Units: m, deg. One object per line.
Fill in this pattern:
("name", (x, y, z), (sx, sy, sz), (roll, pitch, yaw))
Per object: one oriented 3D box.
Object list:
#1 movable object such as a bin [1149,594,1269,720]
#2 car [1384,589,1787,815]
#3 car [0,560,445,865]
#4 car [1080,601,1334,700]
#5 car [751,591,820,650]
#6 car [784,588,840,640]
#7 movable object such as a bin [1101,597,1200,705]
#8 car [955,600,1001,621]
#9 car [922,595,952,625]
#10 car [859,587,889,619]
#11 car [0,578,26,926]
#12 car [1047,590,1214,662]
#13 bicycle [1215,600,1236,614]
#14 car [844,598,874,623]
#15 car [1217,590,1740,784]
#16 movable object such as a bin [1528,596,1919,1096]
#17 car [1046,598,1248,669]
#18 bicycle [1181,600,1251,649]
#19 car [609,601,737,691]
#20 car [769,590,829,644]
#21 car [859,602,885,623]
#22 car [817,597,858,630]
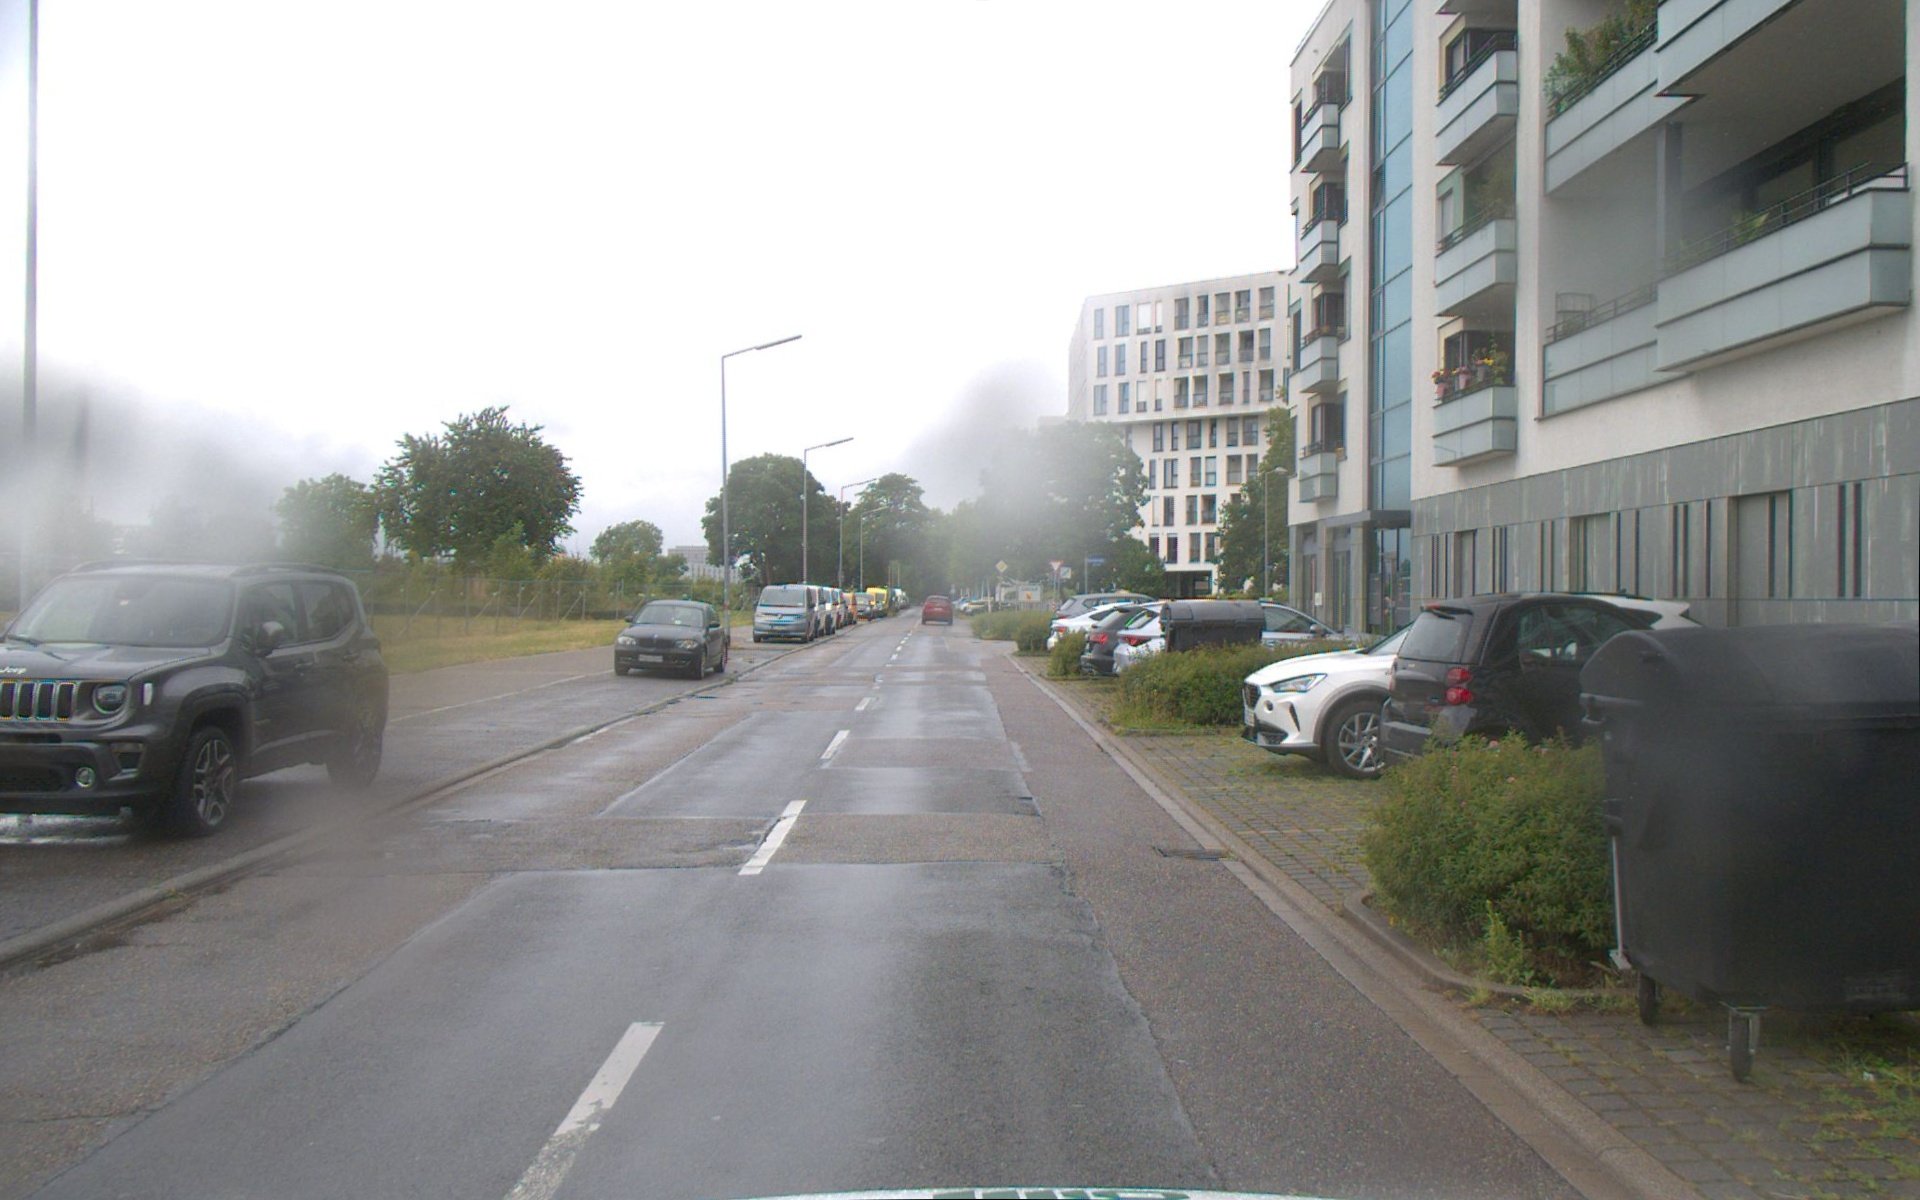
("movable object such as a bin", (3.281, 0.730, 22.010), (1.274, 1.553, 1.581), (-3, 0, -1))
("car", (4.700, 0.727, 12.566), (2.574, 1.533, 1.205), (-2, 0, -7))
("car", (-5.393, 0.630, 11.852), (1.716, 1.722, 4.882), (1, 0, 2))
("car", (4.124, 0.827, 28.081), (3.978, 1.523, 2.057), (-1, 0, -1))
("car", (-6.036, 0.694, 57.617), (1.916, 1.935, 4.994), (1, 0, -1))
("car", (-6.317, 0.586, 71.132), (1.920, 2.094, 5.273), (1, 0, -1))
("movable object such as a bin", (2.866, 0.753, 25.054), (1.274, 1.553, 1.581), (-1, 0, -1))
("car", (1.789, 1.042, 166.139), (4.451, 1.714, 1.884), (-5, 0, -4))
("car", (-1.376, 0.603, 97.752), (1.721, 1.735, 3.999), (0, 0, -2))
("car", (-7.634, 0.296, 147.584), (2.147, 2.741, 6.081), (3, 0, 1))
("car", (-5.291, 0.704, 5.801), (1.717, 1.618, 4.132), (1, 0, -1))
("car", (4.351, 0.660, 42.604), (4.007, 1.652, 1.965), (-2, 0, -3))
("bicycle", (19.814, 0.522, 123.403), (0.711, 1.051, 2.064), (0, -1, 38))
("car", (-6.760, 0.698, 110.941), (1.767, 1.588, 4.032), (3, 0, -1))
("car", (4.703, 0.759, 15.462), (4.258, 1.557, 1.892), (-2, 0, -2))
("movable object such as a bin", (2.959, 0.774, 5.818), (1.465, 1.519, 1.155), (-2, 0, -1))
("car", (4.204, 0.746, 37.703), (4.320, 1.429, 1.910), (-2, 0, -2))
("bicycle", (8.198, 0.786, 52.938), (2.142, 1.549, 0.631), (-1, -1, 20))
("car", (-5.630, 0.870, 32.941), (1.810, 1.588, 4.151), (3, 0, -1))
("car", (-6.322, 0.650, 65.390), (1.856, 2.049, 5.257), (0, 0, -1))
("car", (-7.229, 1.032, 135.927), (1.953, 1.622, 5.015), (3, -1, -2))
("car", (-6.942, 0.745, 94.176), (1.900, 1.798, 4.331), (0, 0, 1))
